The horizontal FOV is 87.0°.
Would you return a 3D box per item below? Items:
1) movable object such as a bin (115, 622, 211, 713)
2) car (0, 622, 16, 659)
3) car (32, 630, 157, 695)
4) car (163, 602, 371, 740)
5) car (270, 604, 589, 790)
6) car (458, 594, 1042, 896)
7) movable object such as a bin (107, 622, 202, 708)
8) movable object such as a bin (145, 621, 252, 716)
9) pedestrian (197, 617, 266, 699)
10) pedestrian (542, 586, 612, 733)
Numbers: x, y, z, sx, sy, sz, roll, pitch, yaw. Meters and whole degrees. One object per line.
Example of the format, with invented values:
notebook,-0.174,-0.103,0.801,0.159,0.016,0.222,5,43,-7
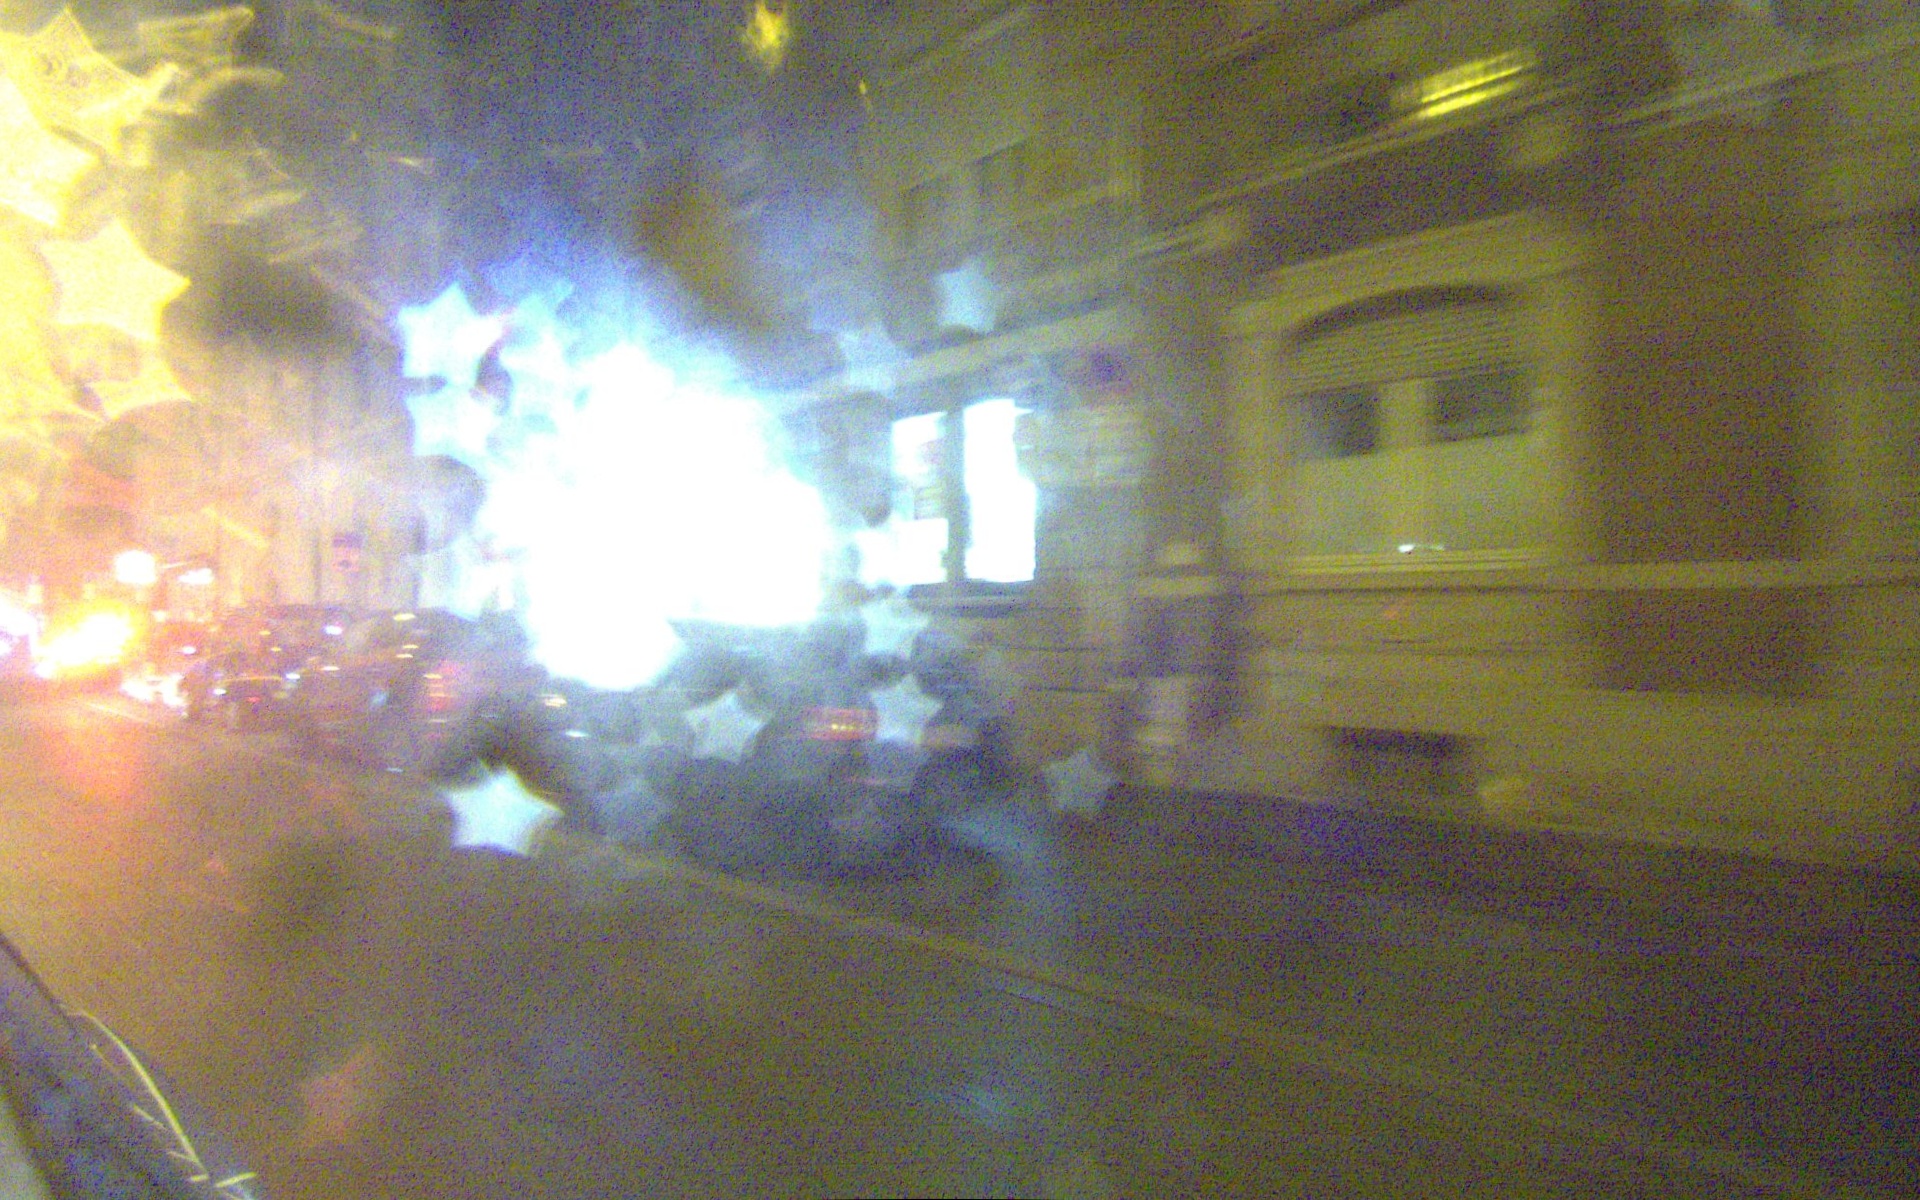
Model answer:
movable object such as a bin,-13.876,1.140,17.624,1.107,1.470,1.152,-1,0,43
car,-39.673,1.665,41.200,3.562,1.453,1.530,-1,0,42
car,-20.353,1.395,23.735,4.220,1.369,1.637,-1,-1,41
car,-10.002,0.926,14.518,3.719,1.719,1.587,-1,-1,41
car,-5.632,0.877,10.527,4.023,1.564,1.587,-2,-1,41
car,-1.677,0.754,6.982,4.313,1.466,1.669,-2,-1,41
movable object such as a bin,-14.697,1.149,18.471,1.107,1.470,1.195,-1,0,43
movable object such as a bin,-12.808,1.115,17.029,1.151,1.470,1.248,-1,0,43
pedestrian,-16.346,1.279,22.717,0.787,1.796,1.120,-2,-2,41
pedestrian,-4.821,0.733,12.755,0.549,1.794,0.632,-2,-2,41
